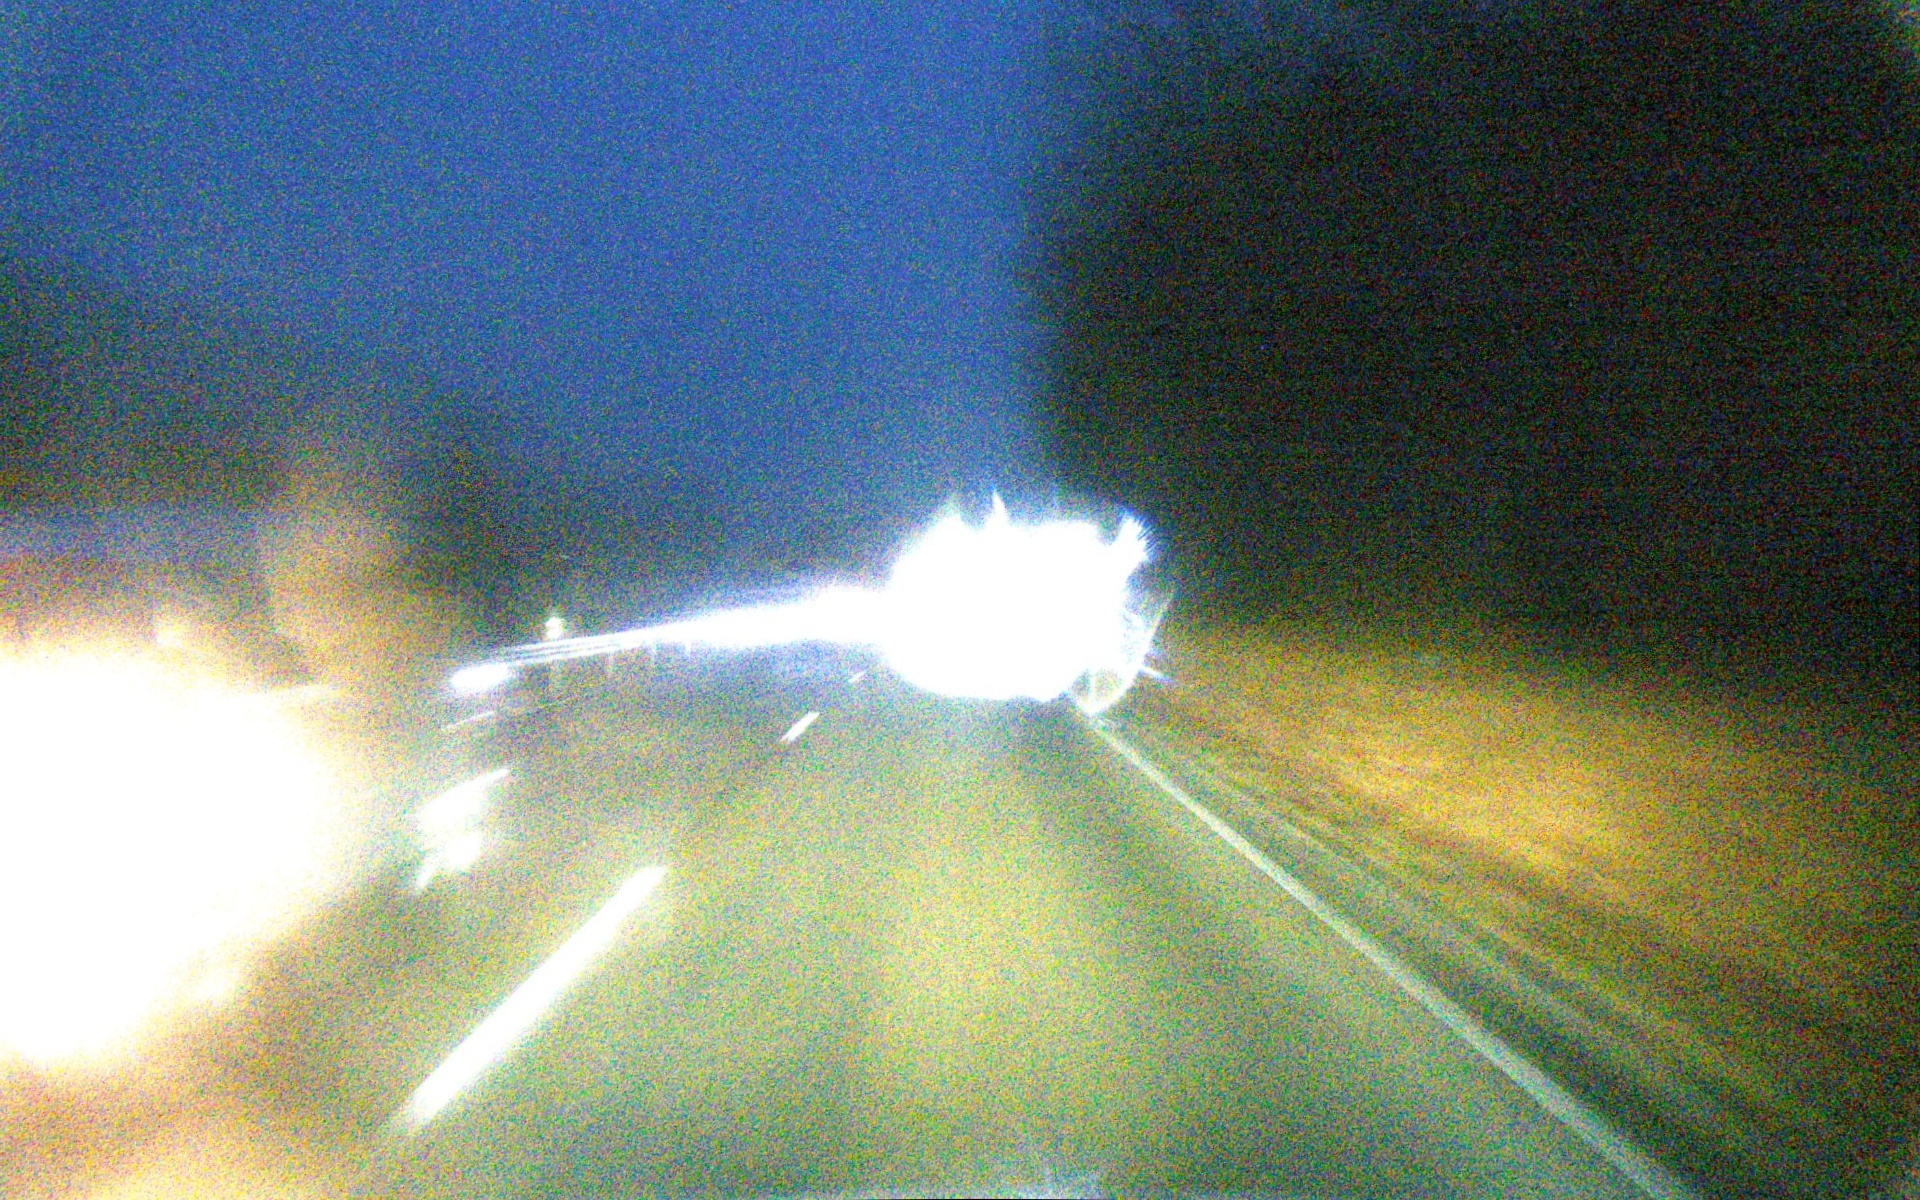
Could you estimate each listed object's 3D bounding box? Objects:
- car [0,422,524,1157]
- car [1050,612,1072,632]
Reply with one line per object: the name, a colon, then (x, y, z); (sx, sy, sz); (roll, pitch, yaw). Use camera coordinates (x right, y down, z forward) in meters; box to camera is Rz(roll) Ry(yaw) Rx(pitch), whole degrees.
car: (-3.256, 0.476, 6.443); (1.953, 1.856, 4.562); (0, 0, -1)
car: (9.179, 1.992, 149.757); (1.952, 1.722, 4.699); (1, -2, 4)
